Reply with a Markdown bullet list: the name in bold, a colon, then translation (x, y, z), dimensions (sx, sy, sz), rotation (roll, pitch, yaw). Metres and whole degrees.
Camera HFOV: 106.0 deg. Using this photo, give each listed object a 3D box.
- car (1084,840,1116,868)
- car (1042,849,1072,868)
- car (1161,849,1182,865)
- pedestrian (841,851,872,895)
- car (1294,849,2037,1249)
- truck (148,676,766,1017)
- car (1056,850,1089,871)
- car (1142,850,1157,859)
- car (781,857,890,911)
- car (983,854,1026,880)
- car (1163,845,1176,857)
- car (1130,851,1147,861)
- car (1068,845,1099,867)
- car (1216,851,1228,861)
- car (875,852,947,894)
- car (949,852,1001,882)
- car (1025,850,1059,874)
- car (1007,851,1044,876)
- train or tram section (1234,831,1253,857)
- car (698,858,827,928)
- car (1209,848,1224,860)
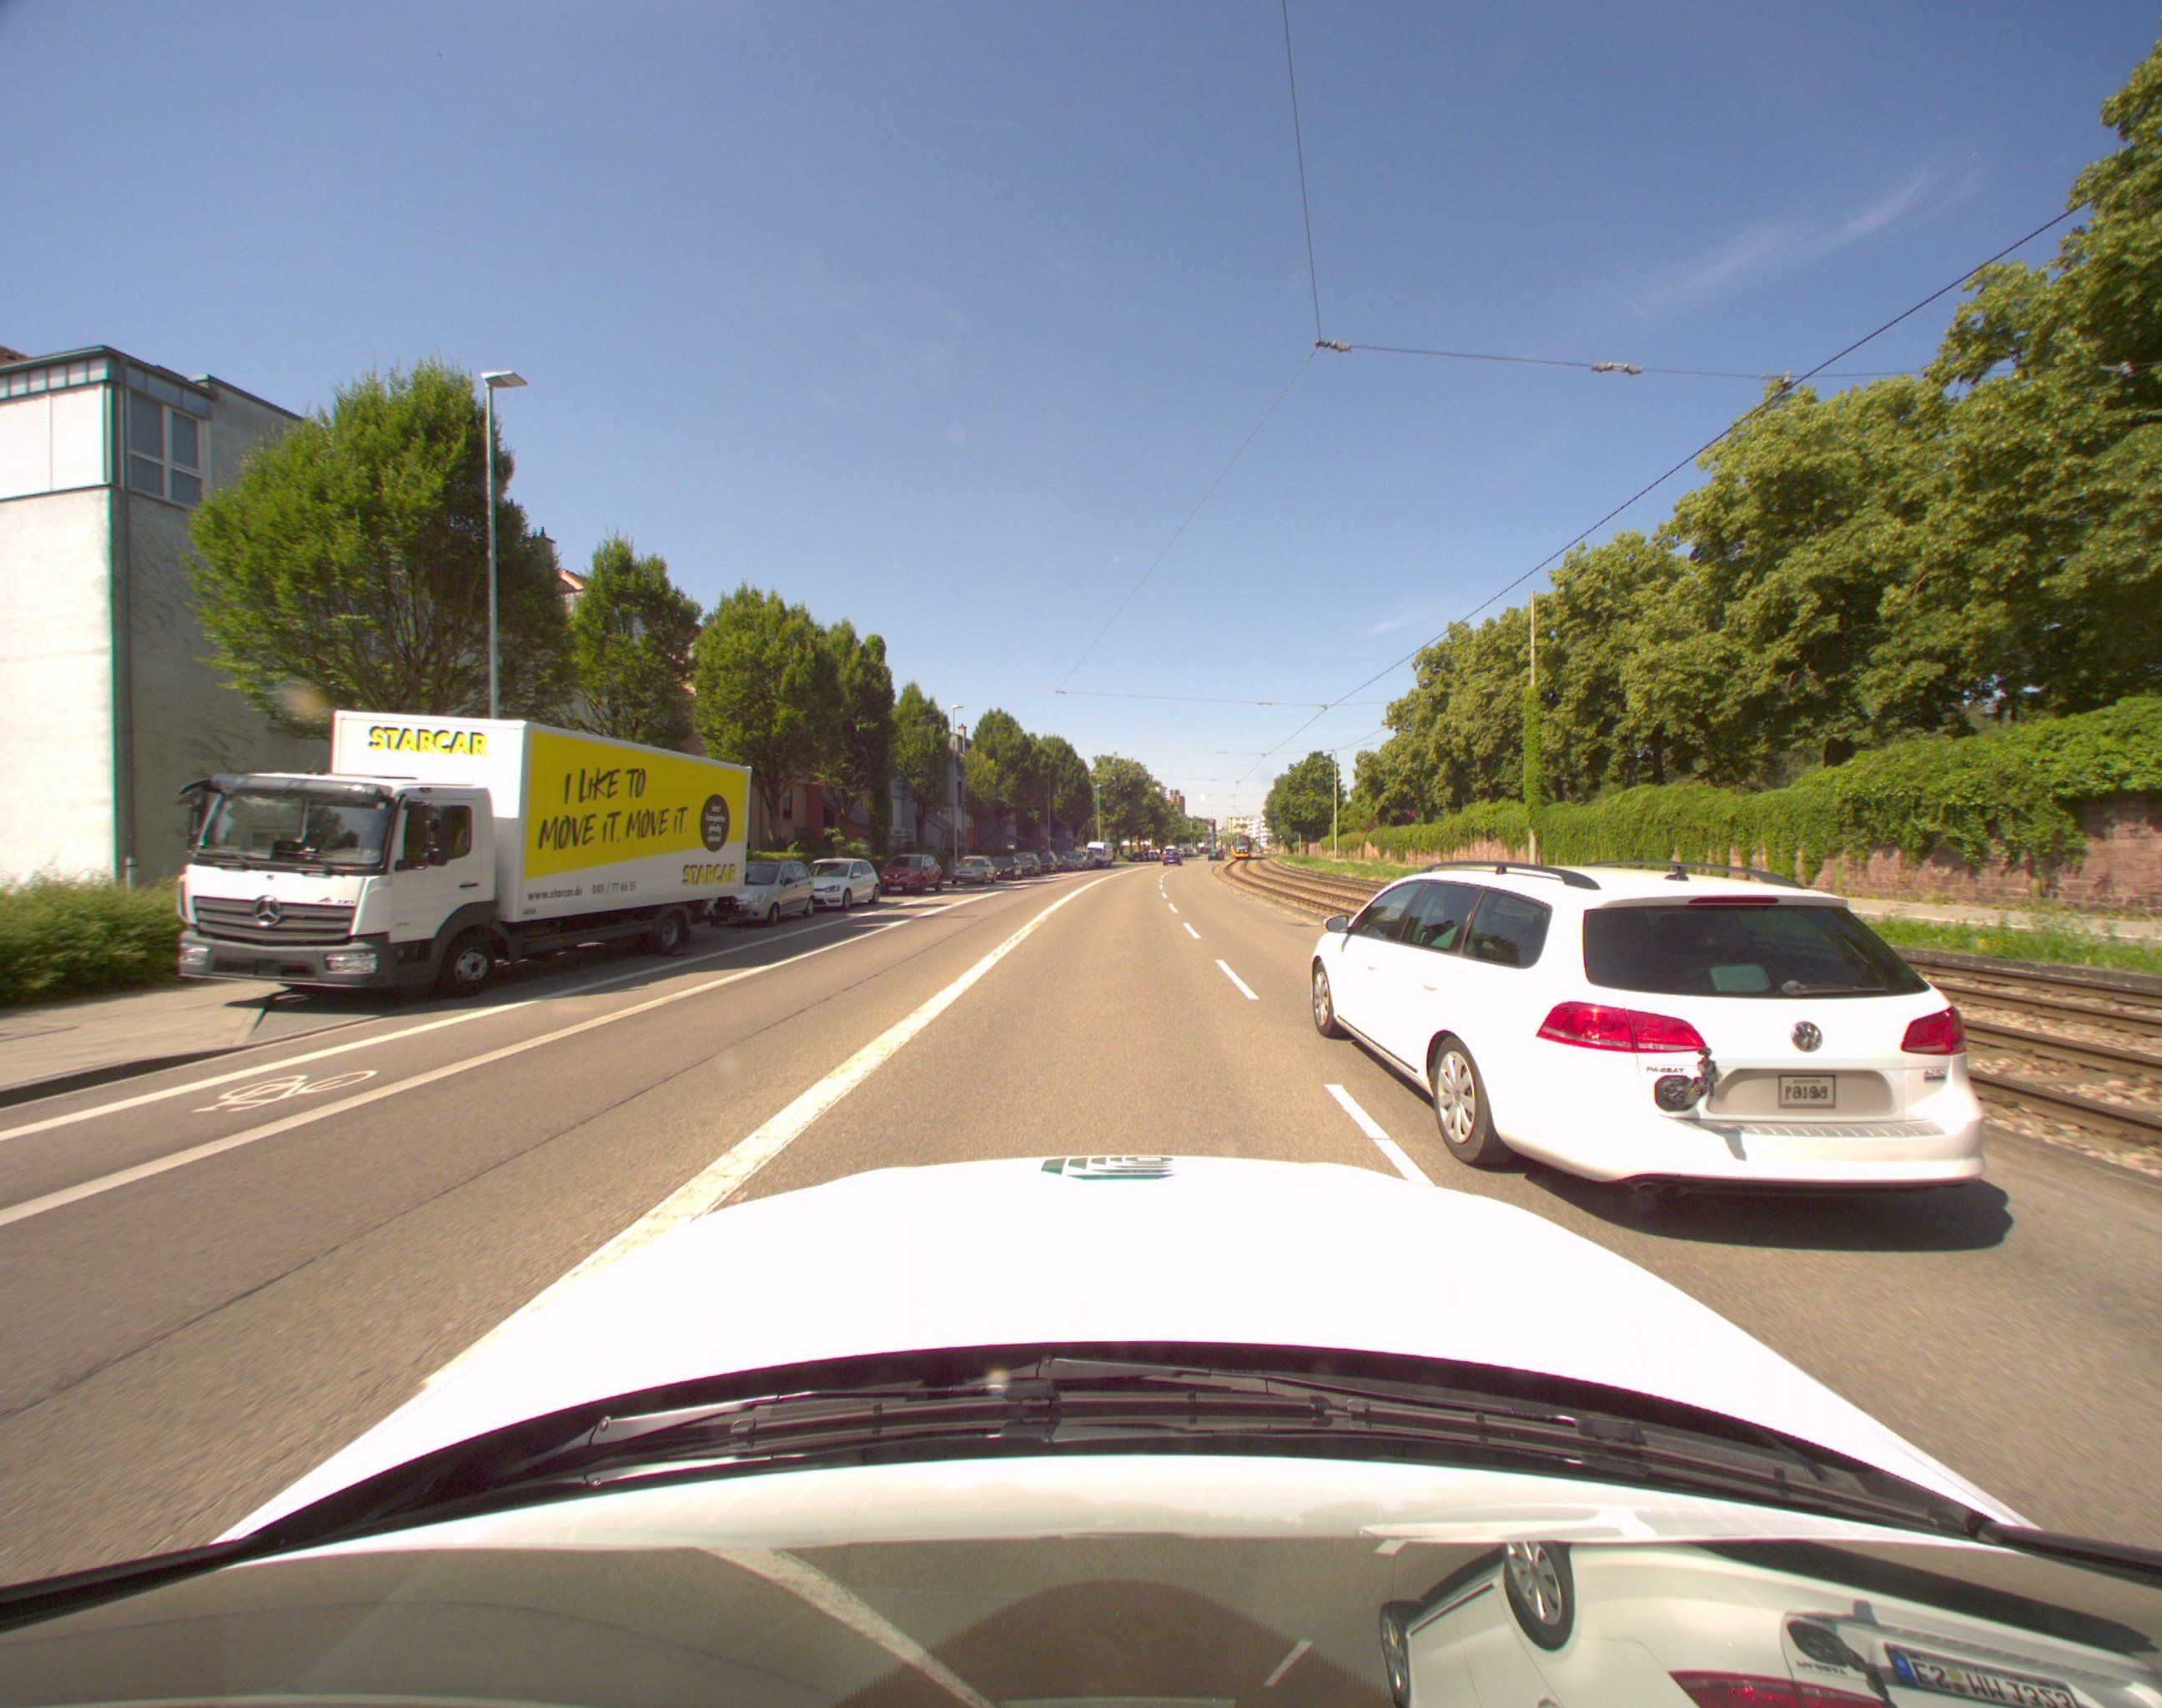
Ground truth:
- **car**: translation (2.073, -0.035, 85.951), dimensions (1.981, 2.714, 7.181), rotation (2, 1, 13)
- **car**: translation (-1.983, 0.368, 67.104), dimensions (1.680, 1.474, 4.059), rotation (2, 1, 9)
- **car**: translation (9.058, 0.280, 81.586), dimensions (1.789, 1.507, 4.013), rotation (0, 1, 11)
- **pedestrian**: translation (-8.861, 0.735, 32.152), dimensions (0.871, 1.690, 1.056), rotation (-1, 0, 3)
- **car**: translation (2.718, 0.702, 5.212), dimensions (1.685, 1.451, 4.461), rotation (-1, 0, 2)
- **truck**: translation (-8.207, -0.133, 12.806), dimensions (2.655, 3.530, 8.599), rotation (1, 1, 4)
- **car**: translation (-0.724, 0.523, 72.138), dimensions (1.788, 1.724, 4.926), rotation (2, 1, 12)
- **car**: translation (10.798, 0.063, 128.424), dimensions (1.687, 1.352, 4.016), rotation (-1, 0, 15)
- **car**: translation (-7.302, 0.833, 24.671), dimensions (1.750, 1.429, 4.286), rotation (1, 0, 3)
- **car**: translation (-4.644, 0.769, 50.260), dimensions (1.714, 1.474, 4.723), rotation (1, 0, 6)
- **car**: translation (17.645, -0.619, 162.096), dimensions (1.866, 2.415, 5.137), rotation (-1, 0, 15)
- **car**: translation (8.151, 0.231, 115.757), dimensions (1.687, 1.417, 4.016), rotation (-1, 0, 15)
- **car**: translation (0.305, 0.182, 77.715), dimensions (1.907, 1.948, 5.371), rotation (2, 1, 11)
- **car**: translation (21.658, 0.226, 125.200), dimensions (1.789, 1.460, 4.012), rotation (-1, 0, 11)
- **car**: translation (-6.779, 0.723, 32.891), dimensions (1.723, 1.551, 4.324), rotation (0, 0, 4)
- **car**: translation (-5.628, 0.665, 43.819), dimensions (1.772, 1.483, 4.863), rotation (1, 0, 4)
- **car**: translation (-2.883, 0.543, 61.523), dimensions (1.760, 1.723, 4.879), rotation (1, 0, 7)
- **car**: translation (-3.783, 0.651, 56.196), dimensions (1.707, 1.625, 4.322), rotation (1, 0, 8)
- **train or tram section**: translation (24.898, -1.447, 124.432), dimensions (2.494, 3.747, 13.358), rotation (-1, 0, 13)
- **car**: translation (-7.656, 0.871, 19.938), dimensions (1.603, 1.483, 3.637), rotation (1, 0, 2)
- **car**: translation (18.602, -0.022, 111.693), dimensions (1.789, 1.507, 4.012), rotation (0, 1, 11)
